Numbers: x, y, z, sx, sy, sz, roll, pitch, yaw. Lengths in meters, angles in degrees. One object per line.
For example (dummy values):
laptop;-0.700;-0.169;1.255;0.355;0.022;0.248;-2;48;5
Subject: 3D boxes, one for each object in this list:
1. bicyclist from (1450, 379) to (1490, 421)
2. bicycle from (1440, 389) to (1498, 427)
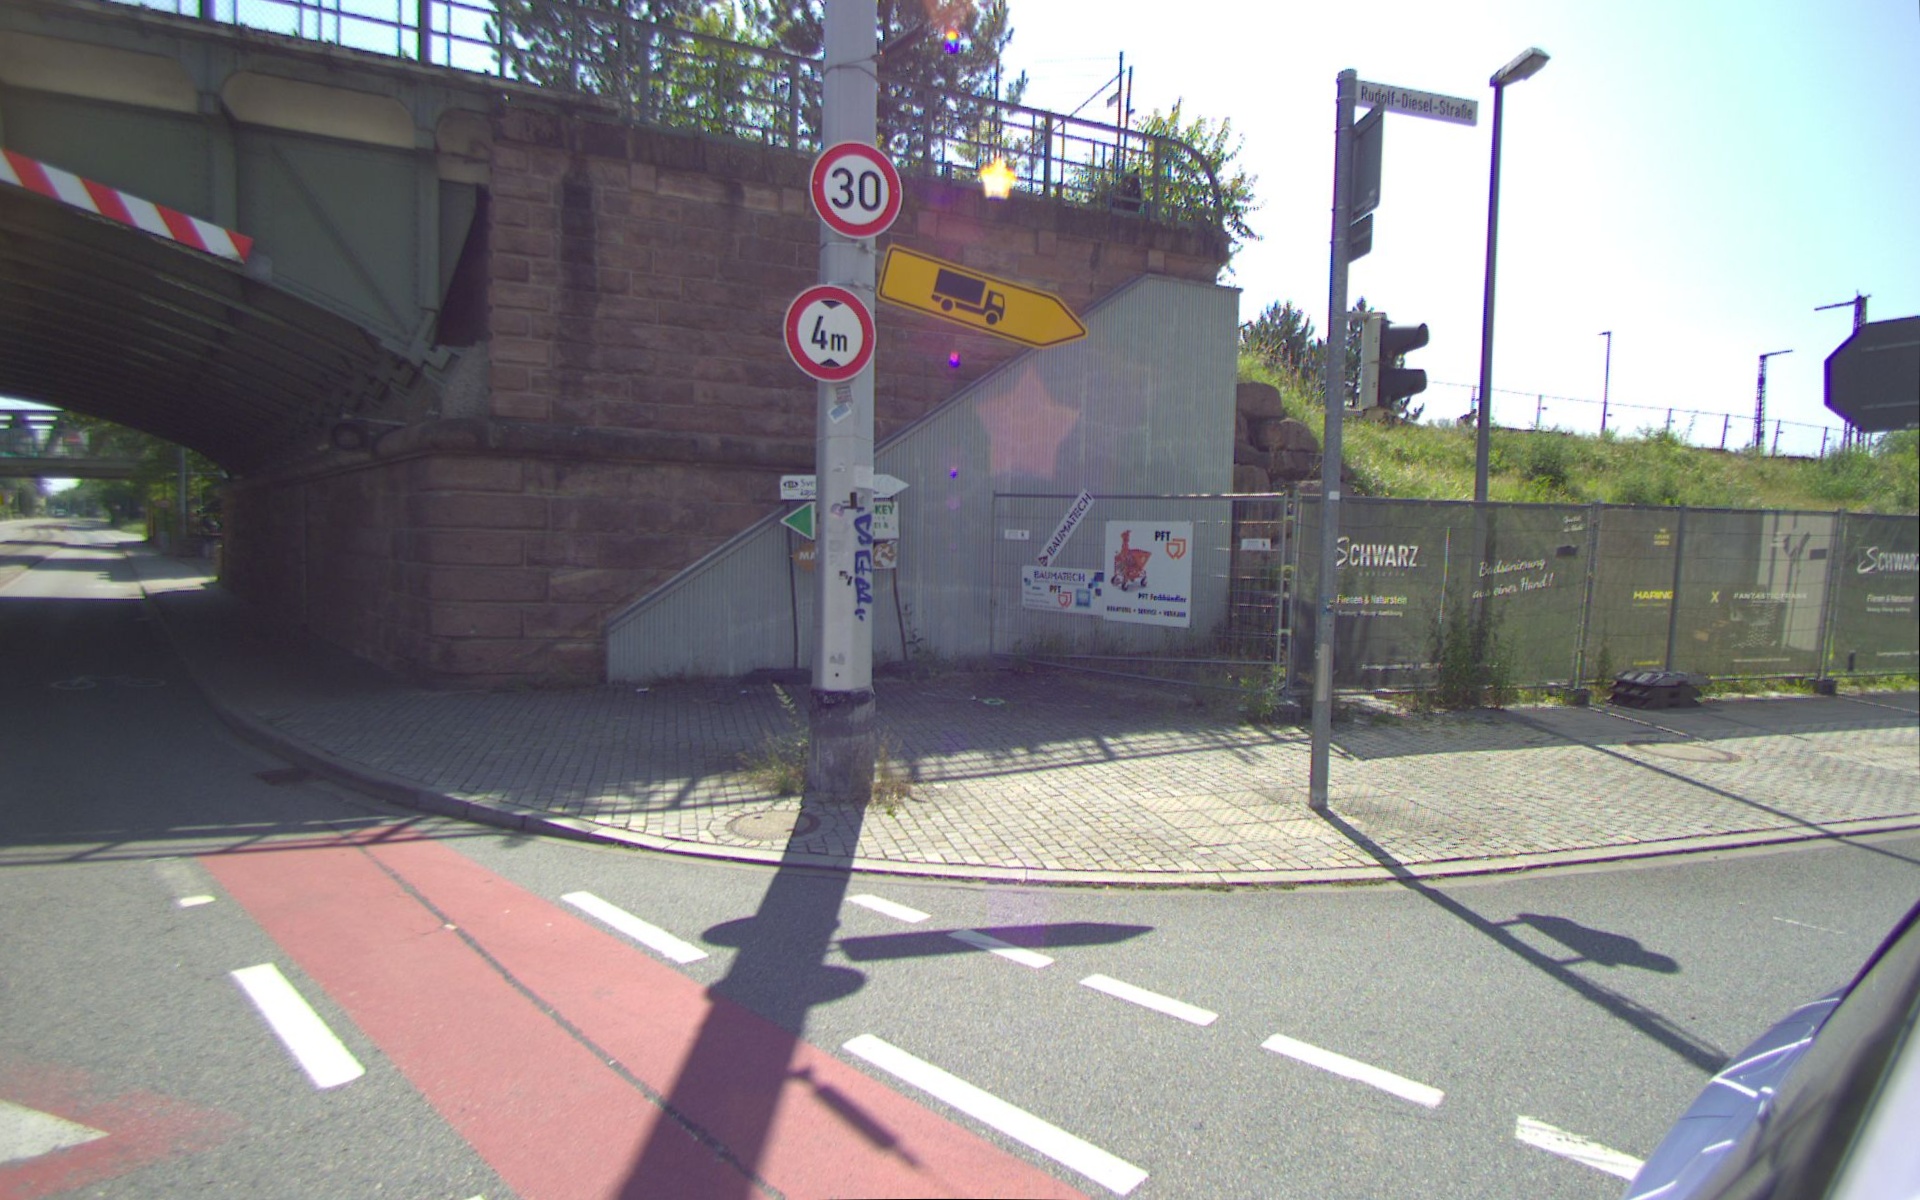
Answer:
bicyclist;19.762;-7.746;39.250;1.041;1.405;0.955;-1;1;-26
bicycle;19.745;-7.430;39.242;2.130;1.228;0.939;-1;2;-26
